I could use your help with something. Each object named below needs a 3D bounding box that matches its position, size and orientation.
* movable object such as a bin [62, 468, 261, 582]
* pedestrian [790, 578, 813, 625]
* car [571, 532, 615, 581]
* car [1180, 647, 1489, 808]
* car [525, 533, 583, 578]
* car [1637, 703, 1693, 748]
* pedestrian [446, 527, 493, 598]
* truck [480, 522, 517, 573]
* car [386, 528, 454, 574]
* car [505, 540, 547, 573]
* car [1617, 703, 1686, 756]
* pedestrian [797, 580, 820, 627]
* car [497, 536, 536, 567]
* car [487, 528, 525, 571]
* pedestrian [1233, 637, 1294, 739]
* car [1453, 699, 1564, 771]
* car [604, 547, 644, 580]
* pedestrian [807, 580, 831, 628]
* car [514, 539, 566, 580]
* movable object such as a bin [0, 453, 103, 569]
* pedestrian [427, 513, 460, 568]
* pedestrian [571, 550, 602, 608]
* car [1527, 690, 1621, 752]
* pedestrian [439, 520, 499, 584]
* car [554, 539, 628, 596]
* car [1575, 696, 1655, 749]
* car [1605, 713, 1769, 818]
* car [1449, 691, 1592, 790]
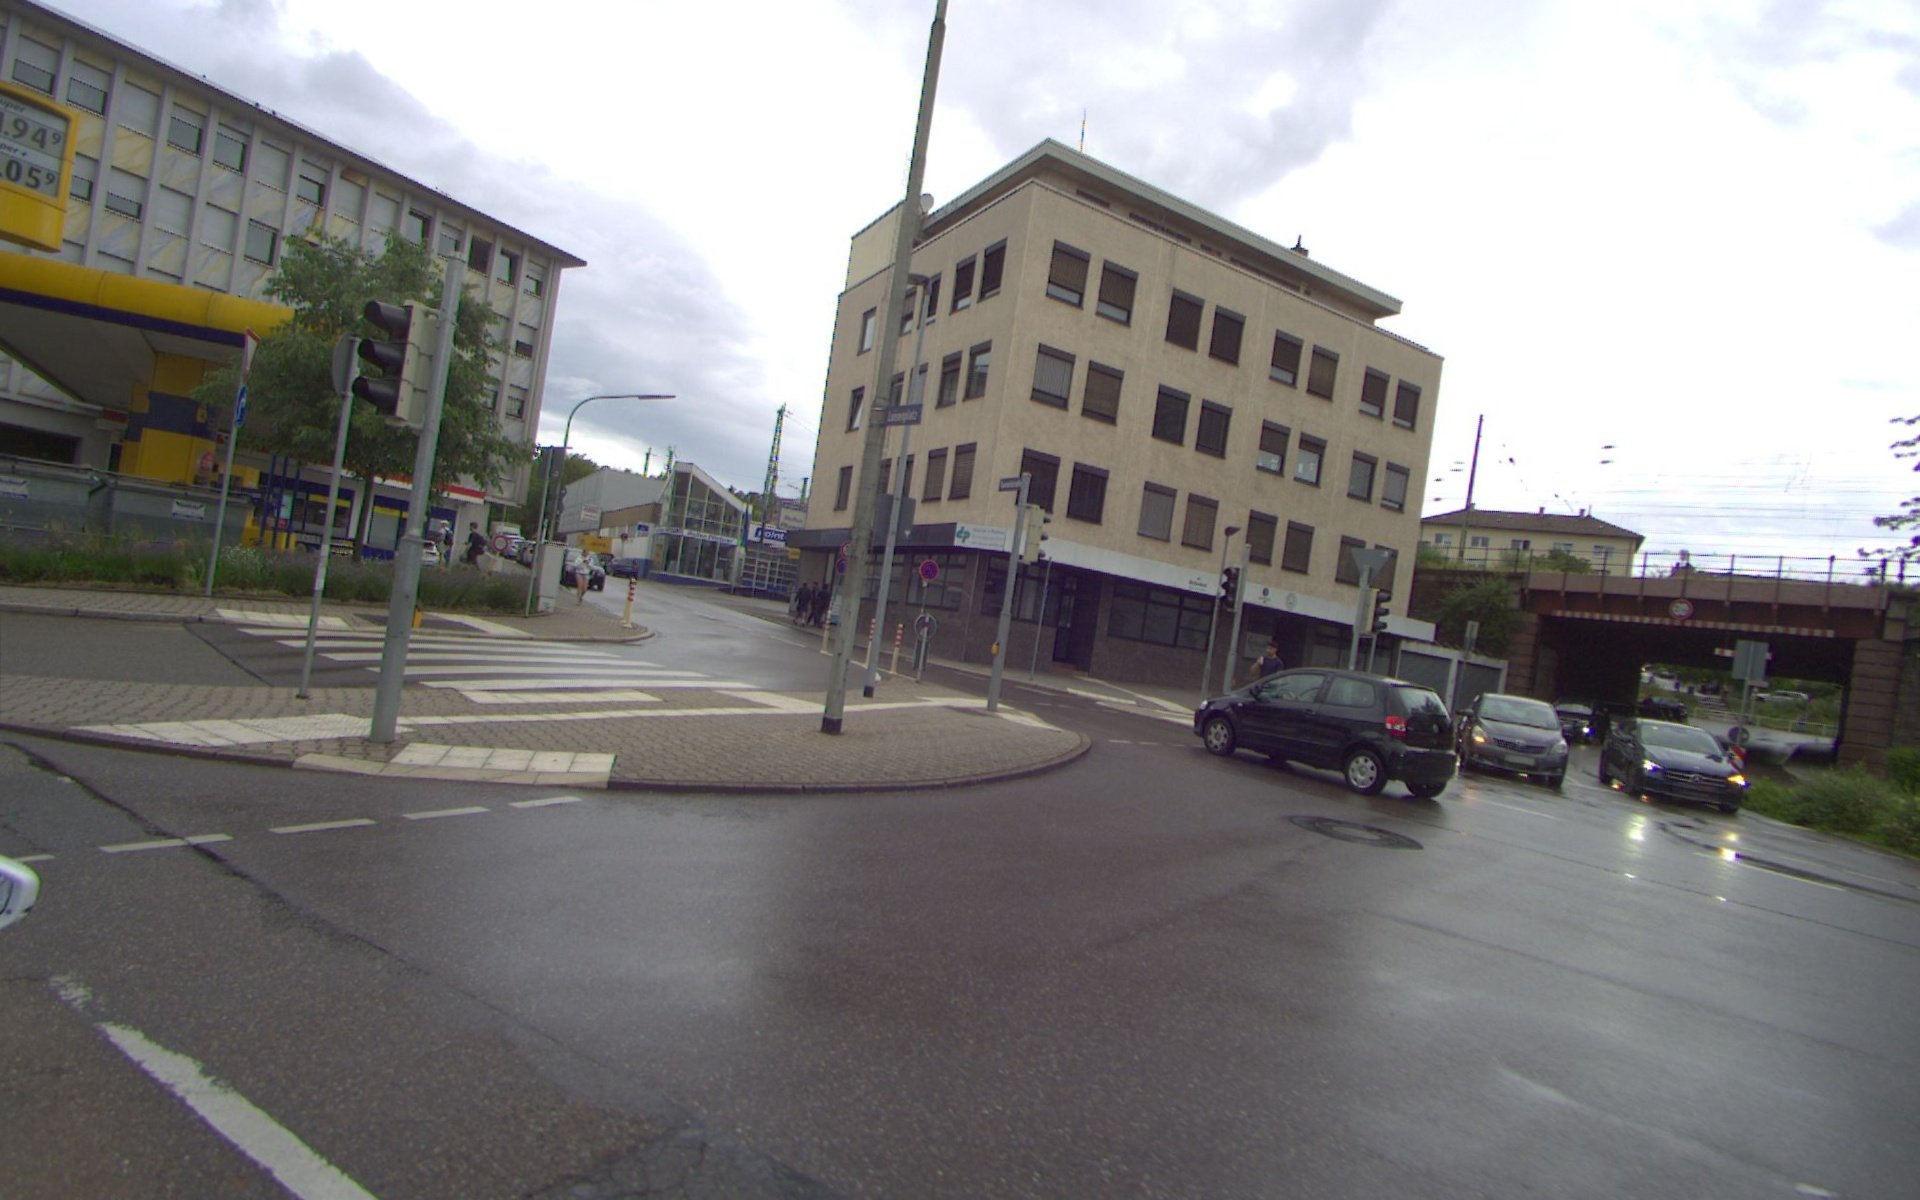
[{"bbox_3d":[-13.871,-1.277,17.537,1.744,1.574,2.158,7,-1,32],"label":"movable object such as a bin"},{"bbox_3d":[-6.166,0.060,39.100,0.475,1.761,0.571,10,-3,-28],"label":"pedestrian"},{"bbox_3d":[-31.583,-3.660,86.587,2.359,3.727,4.961,10,-3,-28],"label":"car"},{"bbox_3d":[5.156,1.721,14.300,1.664,1.508,3.714,12,-3,-32],"label":"car"},{"bbox_3d":[-20.914,-2.244,51.745,1.980,1.884,4.548,11,-4,-29],"label":"car"},{"bbox_3d":[41.557,7.406,59.250,1.974,2.035,3.984,6,-5,44],"label":"car"},{"bbox_3d":[-19.343,-1.486,39.684,1.004,2.594,1.135,11,-3,-44],"label":"pedestrian"},{"bbox_3d":[-40.455,-4.544,88.113,1.980,3.955,5.446,10,-3,-29],"label":"truck"},{"bbox_3d":[-23.668,-2.083,44.239,1.973,1.533,4.400,7,-3,-21],"label":"car"},{"bbox_3d":[-29.881,-2.953,69.217,1.980,1.884,4.548,11,-4,-29],"label":"car"},{"bbox_3d":[33.785,6.361,49.122,1.974,2.035,3.984,6,-5,44],"label":"car"},{"bbox_3d":[-6.023,0.137,39.917,0.475,1.761,0.571,10,-3,-28],"label":"pedestrian"},{"bbox_3d":[-33.085,-3.559,74.929,1.980,1.884,4.548,11,-4,-29],"label":"car"},{"bbox_3d":[-36.937,-4.063,81.800,1.980,3.005,4.548,10,-3,-29],"label":"car"},{"bbox_3d":[5.806,1.693,19.207,0.761,1.810,0.859,7,-3,28],"label":"pedestrian"},{"bbox_3d":[14.715,3.534,26.840,1.969,1.462,4.472,8,-1,35],"label":"car"},{"bbox_3d":[-24.845,-2.643,74.230,1.979,2.035,3.975,10,-4,-27],"label":"car"},{"bbox_3d":[-5.417,0.155,38.704,0.475,1.761,0.571,10,-3,-28],"label":"pedestrian"},{"bbox_3d":[-23.716,-2.237,56.720,1.980,1.884,4.548,11,-4,-29],"label":"car"},{"bbox_3d":[-15.052,-1.475,15.578,1.744,1.593,2.159,7,-2,32],"label":"movable object such as a bin"},{"bbox_3d":[-17.721,-2.029,34.497,0.674,1.776,0.725,10,-3,-35],"label":"pedestrian"},{"bbox_3d":[-10.484,-0.591,28.259,0.472,1.531,0.574,9,-2,-9],"label":"pedestrian"},{"bbox_3d":[24.094,4.755,39.434,4.143,1.801,1.976,12,-5,-43],"label":"car"},{"bbox_3d":[-13.884,-1.344,28.492,1.095,1.540,0.917,9,-3,-9],"label":"pedestrian"},{"bbox_3d":[-15.427,-1.329,41.918,1.980,1.884,4.548,11,-4,-29],"label":"car"},{"bbox_3d":[29.407,5.503,45.144,3.980,1.801,1.976,12,-5,-43],"label":"car"},{"bbox_3d":[14.728,3.271,20.654,1.965,1.462,4.480,8,-1,28],"label":"car"},{"bbox_3d":[11.607,2.834,21.163,1.964,1.462,4.484,8,-1,23],"label":"car"}]
